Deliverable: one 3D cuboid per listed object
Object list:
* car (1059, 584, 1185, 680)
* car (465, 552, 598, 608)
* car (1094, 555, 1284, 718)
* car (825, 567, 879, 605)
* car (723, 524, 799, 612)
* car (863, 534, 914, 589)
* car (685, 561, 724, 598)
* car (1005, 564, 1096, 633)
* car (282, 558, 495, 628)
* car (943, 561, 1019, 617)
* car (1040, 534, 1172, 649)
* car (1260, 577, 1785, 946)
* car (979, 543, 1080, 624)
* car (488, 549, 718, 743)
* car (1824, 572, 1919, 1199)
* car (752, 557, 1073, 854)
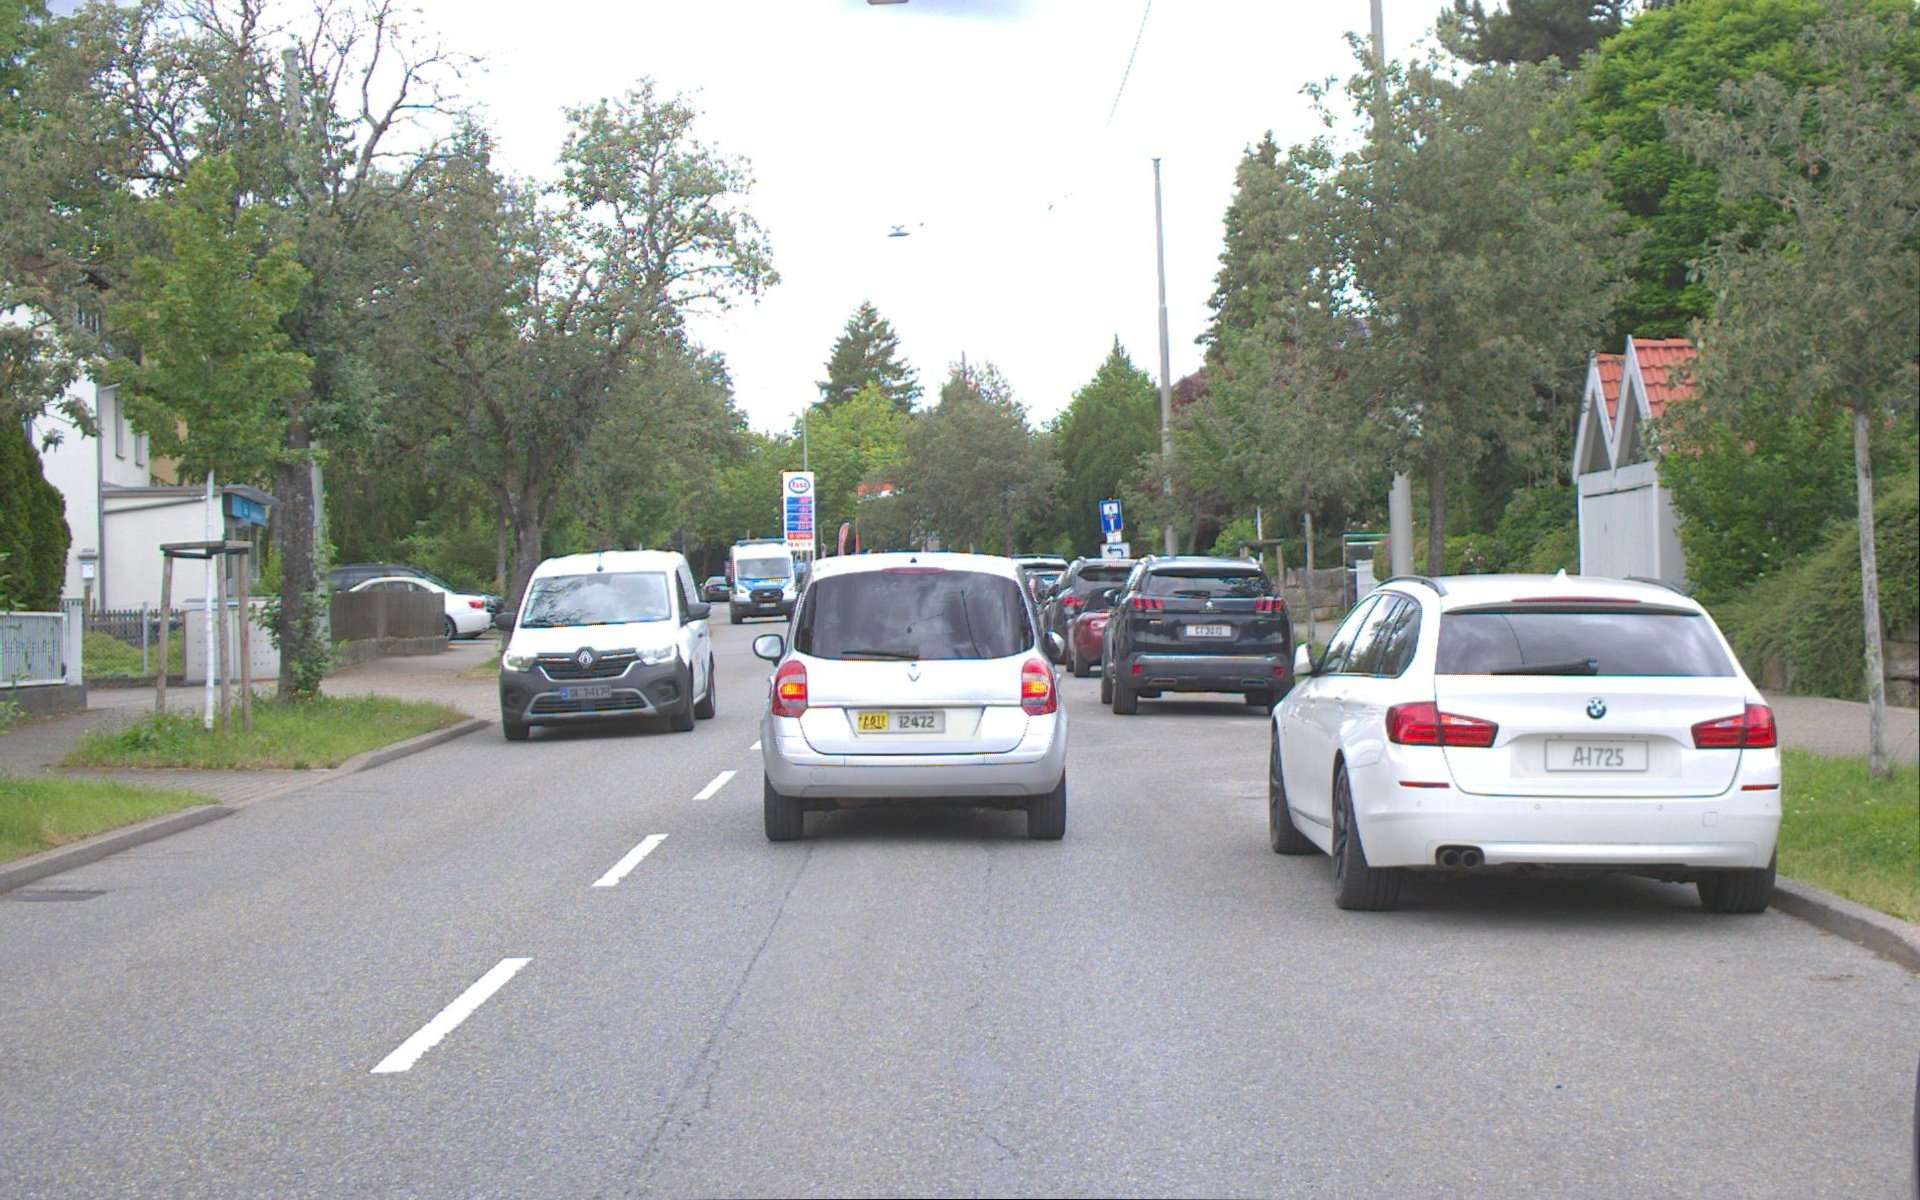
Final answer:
[{"bbox_3d":[2.206,0.417,47.648,1.481,1.232,3.884,1,1,-1],"label":"car"},{"bbox_3d":[-13.574,-0.639,109.031,4.086,1.700,1.748,1,0,-5],"label":"car"},{"bbox_3d":[2.348,0.347,36.144,1.688,1.603,4.109,0,0,0],"label":"car"},{"bbox_3d":[-4.417,-0.560,139.648,1.695,1.501,3.973,-1,1,-9],"label":"car"},{"bbox_3d":[-6.209,-1.004,107.663,2.073,2.574,5.300,-3,1,-2],"label":"car"},{"bbox_3d":[-3.864,-2.063,185.402,2.281,2.901,5.280,0,0,-6],"label":"car"},{"bbox_3d":[-12.724,-1.036,171.156,1.835,1.708,4.001,-2,1,-5],"label":"car"},{"bbox_3d":[1.900,-0.043,73.225,1.558,1.438,3.507,0,0,-5],"label":"car"},{"bbox_3d":[-11.836,-0.150,71.410,4.277,1.364,1.816,1,0,-7],"label":"car"},{"bbox_3d":[0.556,-0.323,93.414,1.626,1.447,3.876,-2,1,-6],"label":"car"},{"bbox_3d":[2.282,-0.152,54.684,1.830,1.706,4.549,-2,1,0],"label":"car"},{"bbox_3d":[2.473,0.642,16.135,1.693,1.448,4.404,1,1,0],"label":"car"},{"bbox_3d":[1.538,-0.378,77.748,1.799,1.772,4.706,0,0,-5],"label":"car"},{"bbox_3d":[-3.486,0.404,34.218,1.795,1.746,4.299,-2,1,0],"label":"car"},{"bbox_3d":[2.638,0.725,4.783,1.665,1.511,4.221,0,1,-2],"label":"car"},{"bbox_3d":[-0.239,0.536,19.812,1.679,1.554,3.512,0,1,0],"label":"car"}]
